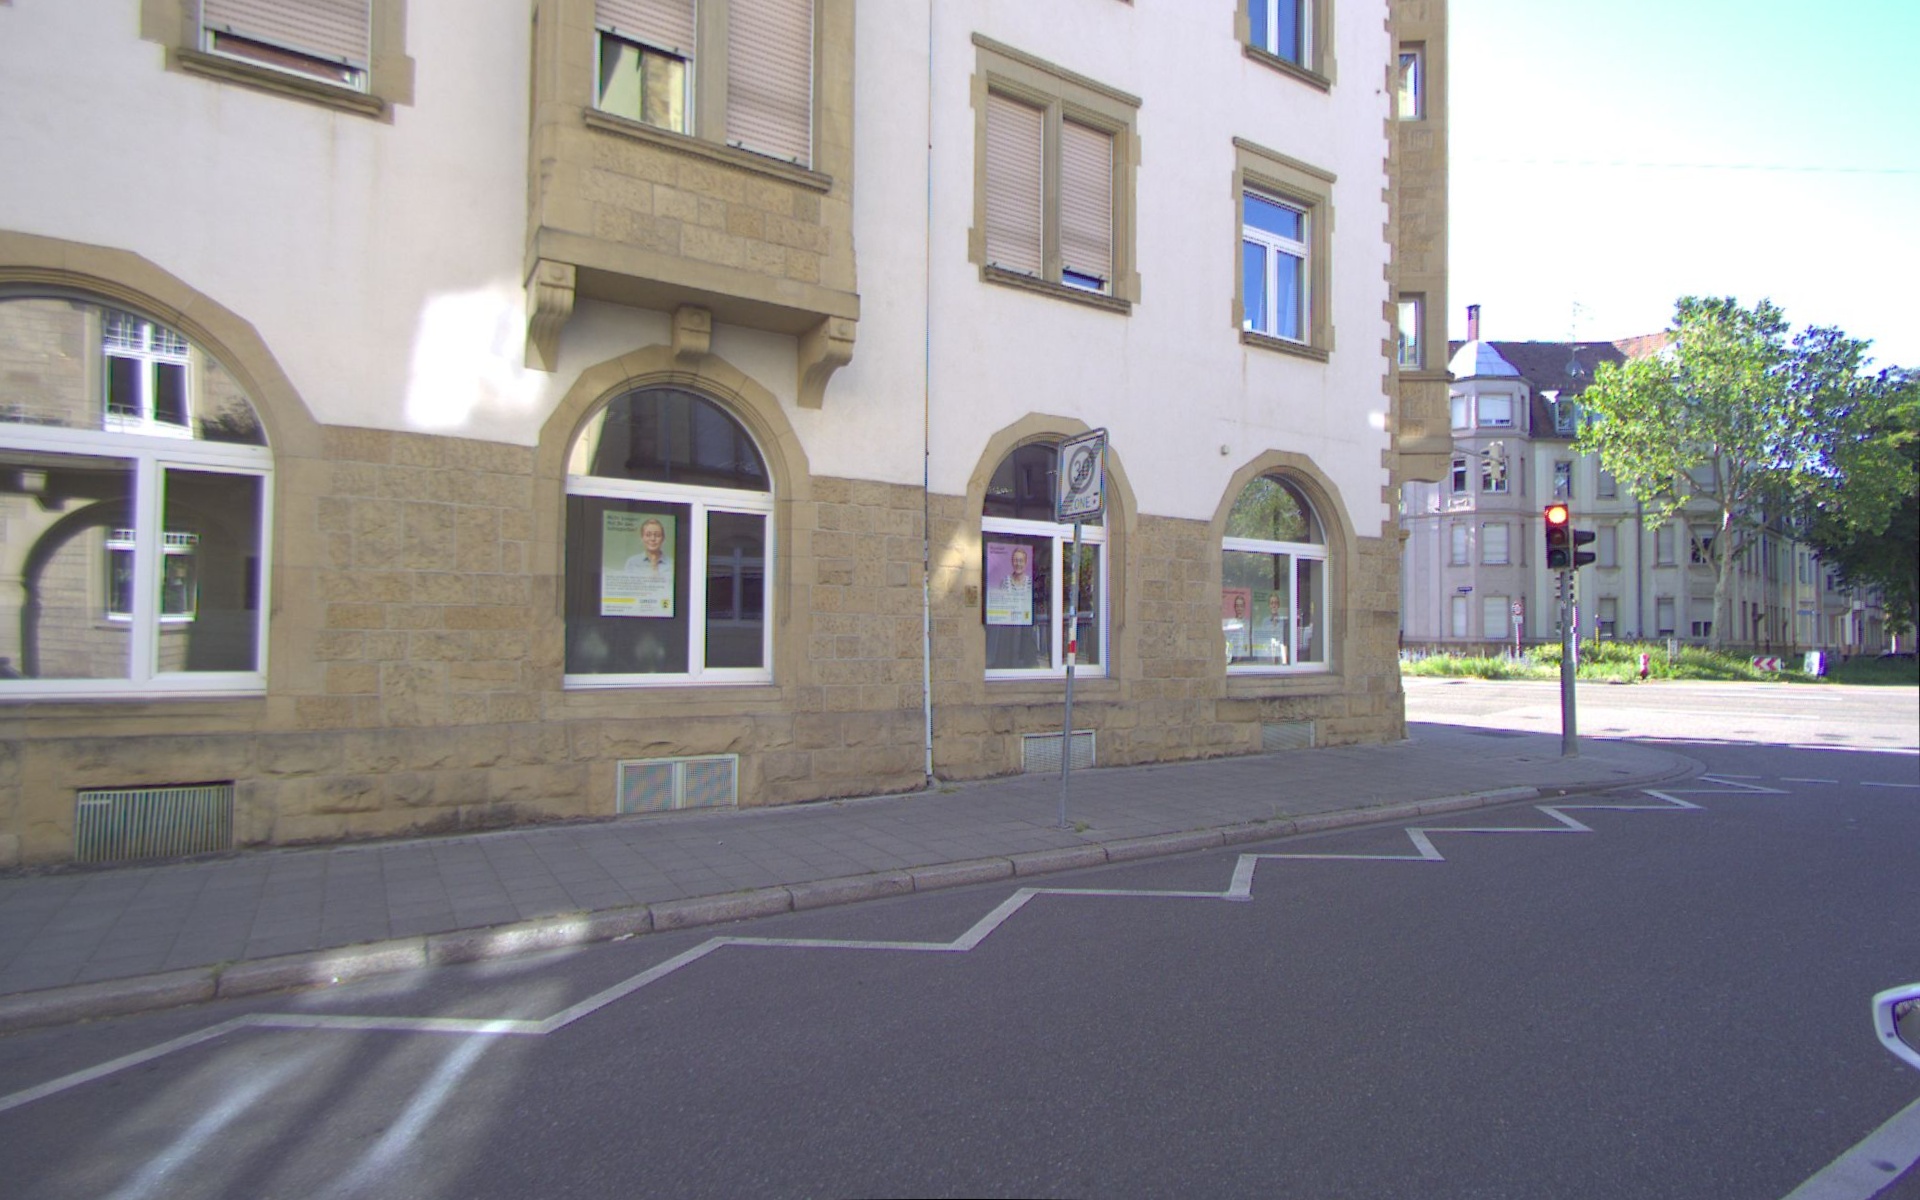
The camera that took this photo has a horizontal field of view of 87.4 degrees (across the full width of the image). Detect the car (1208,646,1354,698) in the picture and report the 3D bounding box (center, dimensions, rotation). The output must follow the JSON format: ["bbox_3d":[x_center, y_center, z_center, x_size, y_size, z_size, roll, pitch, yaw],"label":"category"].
[{"bbox_3d":[9.991,2.206,31.409,3.944,1.336,1.812,1,-1,43],"label":"car"}]
